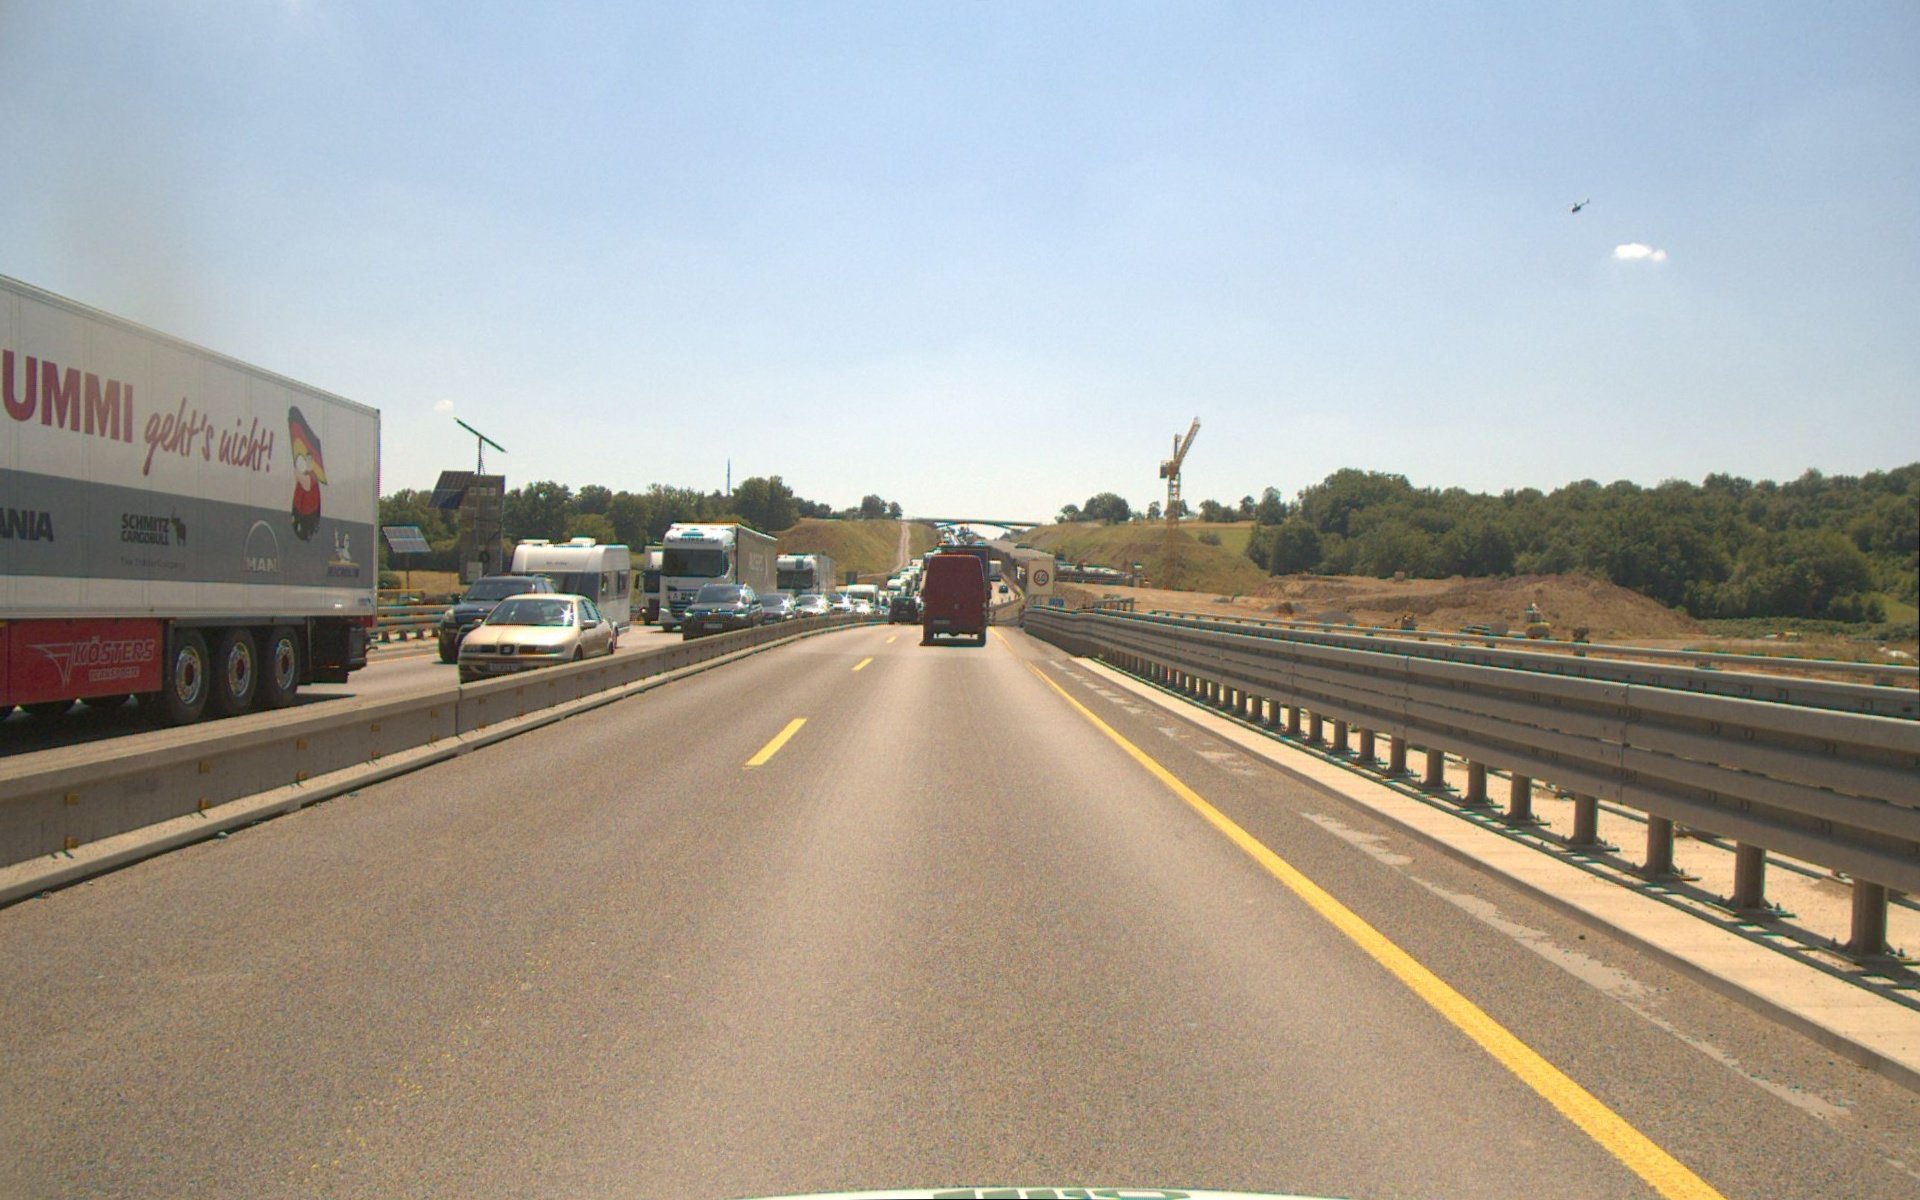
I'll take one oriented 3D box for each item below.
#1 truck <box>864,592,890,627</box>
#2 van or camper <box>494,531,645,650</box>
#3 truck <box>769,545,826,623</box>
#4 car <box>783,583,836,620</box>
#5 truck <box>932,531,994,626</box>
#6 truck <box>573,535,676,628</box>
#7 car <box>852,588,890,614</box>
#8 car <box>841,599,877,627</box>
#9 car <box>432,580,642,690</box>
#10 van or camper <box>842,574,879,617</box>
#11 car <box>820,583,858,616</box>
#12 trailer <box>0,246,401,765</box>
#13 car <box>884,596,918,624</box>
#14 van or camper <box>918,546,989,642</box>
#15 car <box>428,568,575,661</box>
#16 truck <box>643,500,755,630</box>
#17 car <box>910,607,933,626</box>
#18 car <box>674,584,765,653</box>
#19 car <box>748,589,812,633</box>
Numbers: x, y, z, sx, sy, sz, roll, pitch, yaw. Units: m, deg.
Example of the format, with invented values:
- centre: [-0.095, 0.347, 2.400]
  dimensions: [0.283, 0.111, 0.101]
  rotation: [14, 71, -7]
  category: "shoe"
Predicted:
- centre: [-10.447, 1.200, 207.589]
  dimensions: [2.920, 4.258, 5.866]
  rotation: [1, -1, -6]
  category: "truck"
- centre: [-9.572, -0.237, 41.034]
  dimensions: [2.452, 2.746, 5.243]
  rotation: [1, 0, 0]
  category: "van or camper"
- centre: [-9.609, -0.940, 98.279]
  dimensions: [2.749, 4.469, 6.225]
  rotation: [1, 0, 0]
  category: "truck"
- centre: [-6.580, 0.054, 72.655]
  dimensions: [1.827, 1.484, 4.607]
  rotation: [2, 0, 0]
  category: "car"
- centre: [0.092, -1.092, 87.399]
  dimensions: [2.960, 4.775, 6.929]
  rotation: [-1, 0, -2]
  category: "truck"
- centre: [-14.861, -0.813, 73.932]
  dimensions: [2.845, 3.830, 8.367]
  rotation: [2, 0, 0]
  category: "truck"
- centre: [-6.347, 0.047, 118.939]
  dimensions: [2.323, 1.756, 5.781]
  rotation: [3, 1, 0]
  category: "car"
- centre: [-5.990, 0.733, 97.665]
  dimensions: [1.954, 1.524, 4.970]
  rotation: [2, 0, -4]
  category: "car"
- centre: [-6.400, 0.471, 25.533]
  dimensions: [1.861, 1.487, 4.196]
  rotation: [-2, 1, 4]
  category: "car"
- centre: [-6.405, -0.322, 107.010]
  dimensions: [2.175, 2.555, 6.529]
  rotation: [3, 0, -3]
  category: "van or camper"
- centre: [-6.500, -0.054, 89.208]
  dimensions: [1.721, 1.675, 4.155]
  rotation: [2, 0, -1]
  category: "car"
- centre: [-9.290, -0.845, 17.607]
  dimensions: [2.749, 4.249, 11.797]
  rotation: [1, 1, -1]
  category: "trailer"
- centre: [-3.503, 0.590, 98.333]
  dimensions: [1.971, 1.572, 4.131]
  rotation: [1, 0, -2]
  category: "car"
- centre: [-0.254, -0.194, 51.103]
  dimensions: [1.988, 2.792, 4.513]
  rotation: [1, 0, -2]
  category: "van or camper"
- centre: [-9.421, 0.270, 34.372]
  dimensions: [1.731, 1.765, 4.790]
  rotation: [1, 0, 0]
  category: "car"
- centre: [-9.809, -1.268, 62.926]
  dimensions: [3.014, 4.616, 7.103]
  rotation: [1, 0, 1]
  category: "truck"
- centre: [-3.362, 1.445, 144.913]
  dimensions: [1.971, 1.572, 4.131]
  rotation: [2, 0, -1]
  category: "car"
- centre: [-6.472, 0.456, 44.999]
  dimensions: [1.810, 1.717, 4.618]
  rotation: [2, 0, -1]
  category: "car"
- centre: [-6.448, 0.358, 59.537]
  dimensions: [1.741, 1.445, 4.538]
  rotation: [2, 0, 0]
  category: "car"
